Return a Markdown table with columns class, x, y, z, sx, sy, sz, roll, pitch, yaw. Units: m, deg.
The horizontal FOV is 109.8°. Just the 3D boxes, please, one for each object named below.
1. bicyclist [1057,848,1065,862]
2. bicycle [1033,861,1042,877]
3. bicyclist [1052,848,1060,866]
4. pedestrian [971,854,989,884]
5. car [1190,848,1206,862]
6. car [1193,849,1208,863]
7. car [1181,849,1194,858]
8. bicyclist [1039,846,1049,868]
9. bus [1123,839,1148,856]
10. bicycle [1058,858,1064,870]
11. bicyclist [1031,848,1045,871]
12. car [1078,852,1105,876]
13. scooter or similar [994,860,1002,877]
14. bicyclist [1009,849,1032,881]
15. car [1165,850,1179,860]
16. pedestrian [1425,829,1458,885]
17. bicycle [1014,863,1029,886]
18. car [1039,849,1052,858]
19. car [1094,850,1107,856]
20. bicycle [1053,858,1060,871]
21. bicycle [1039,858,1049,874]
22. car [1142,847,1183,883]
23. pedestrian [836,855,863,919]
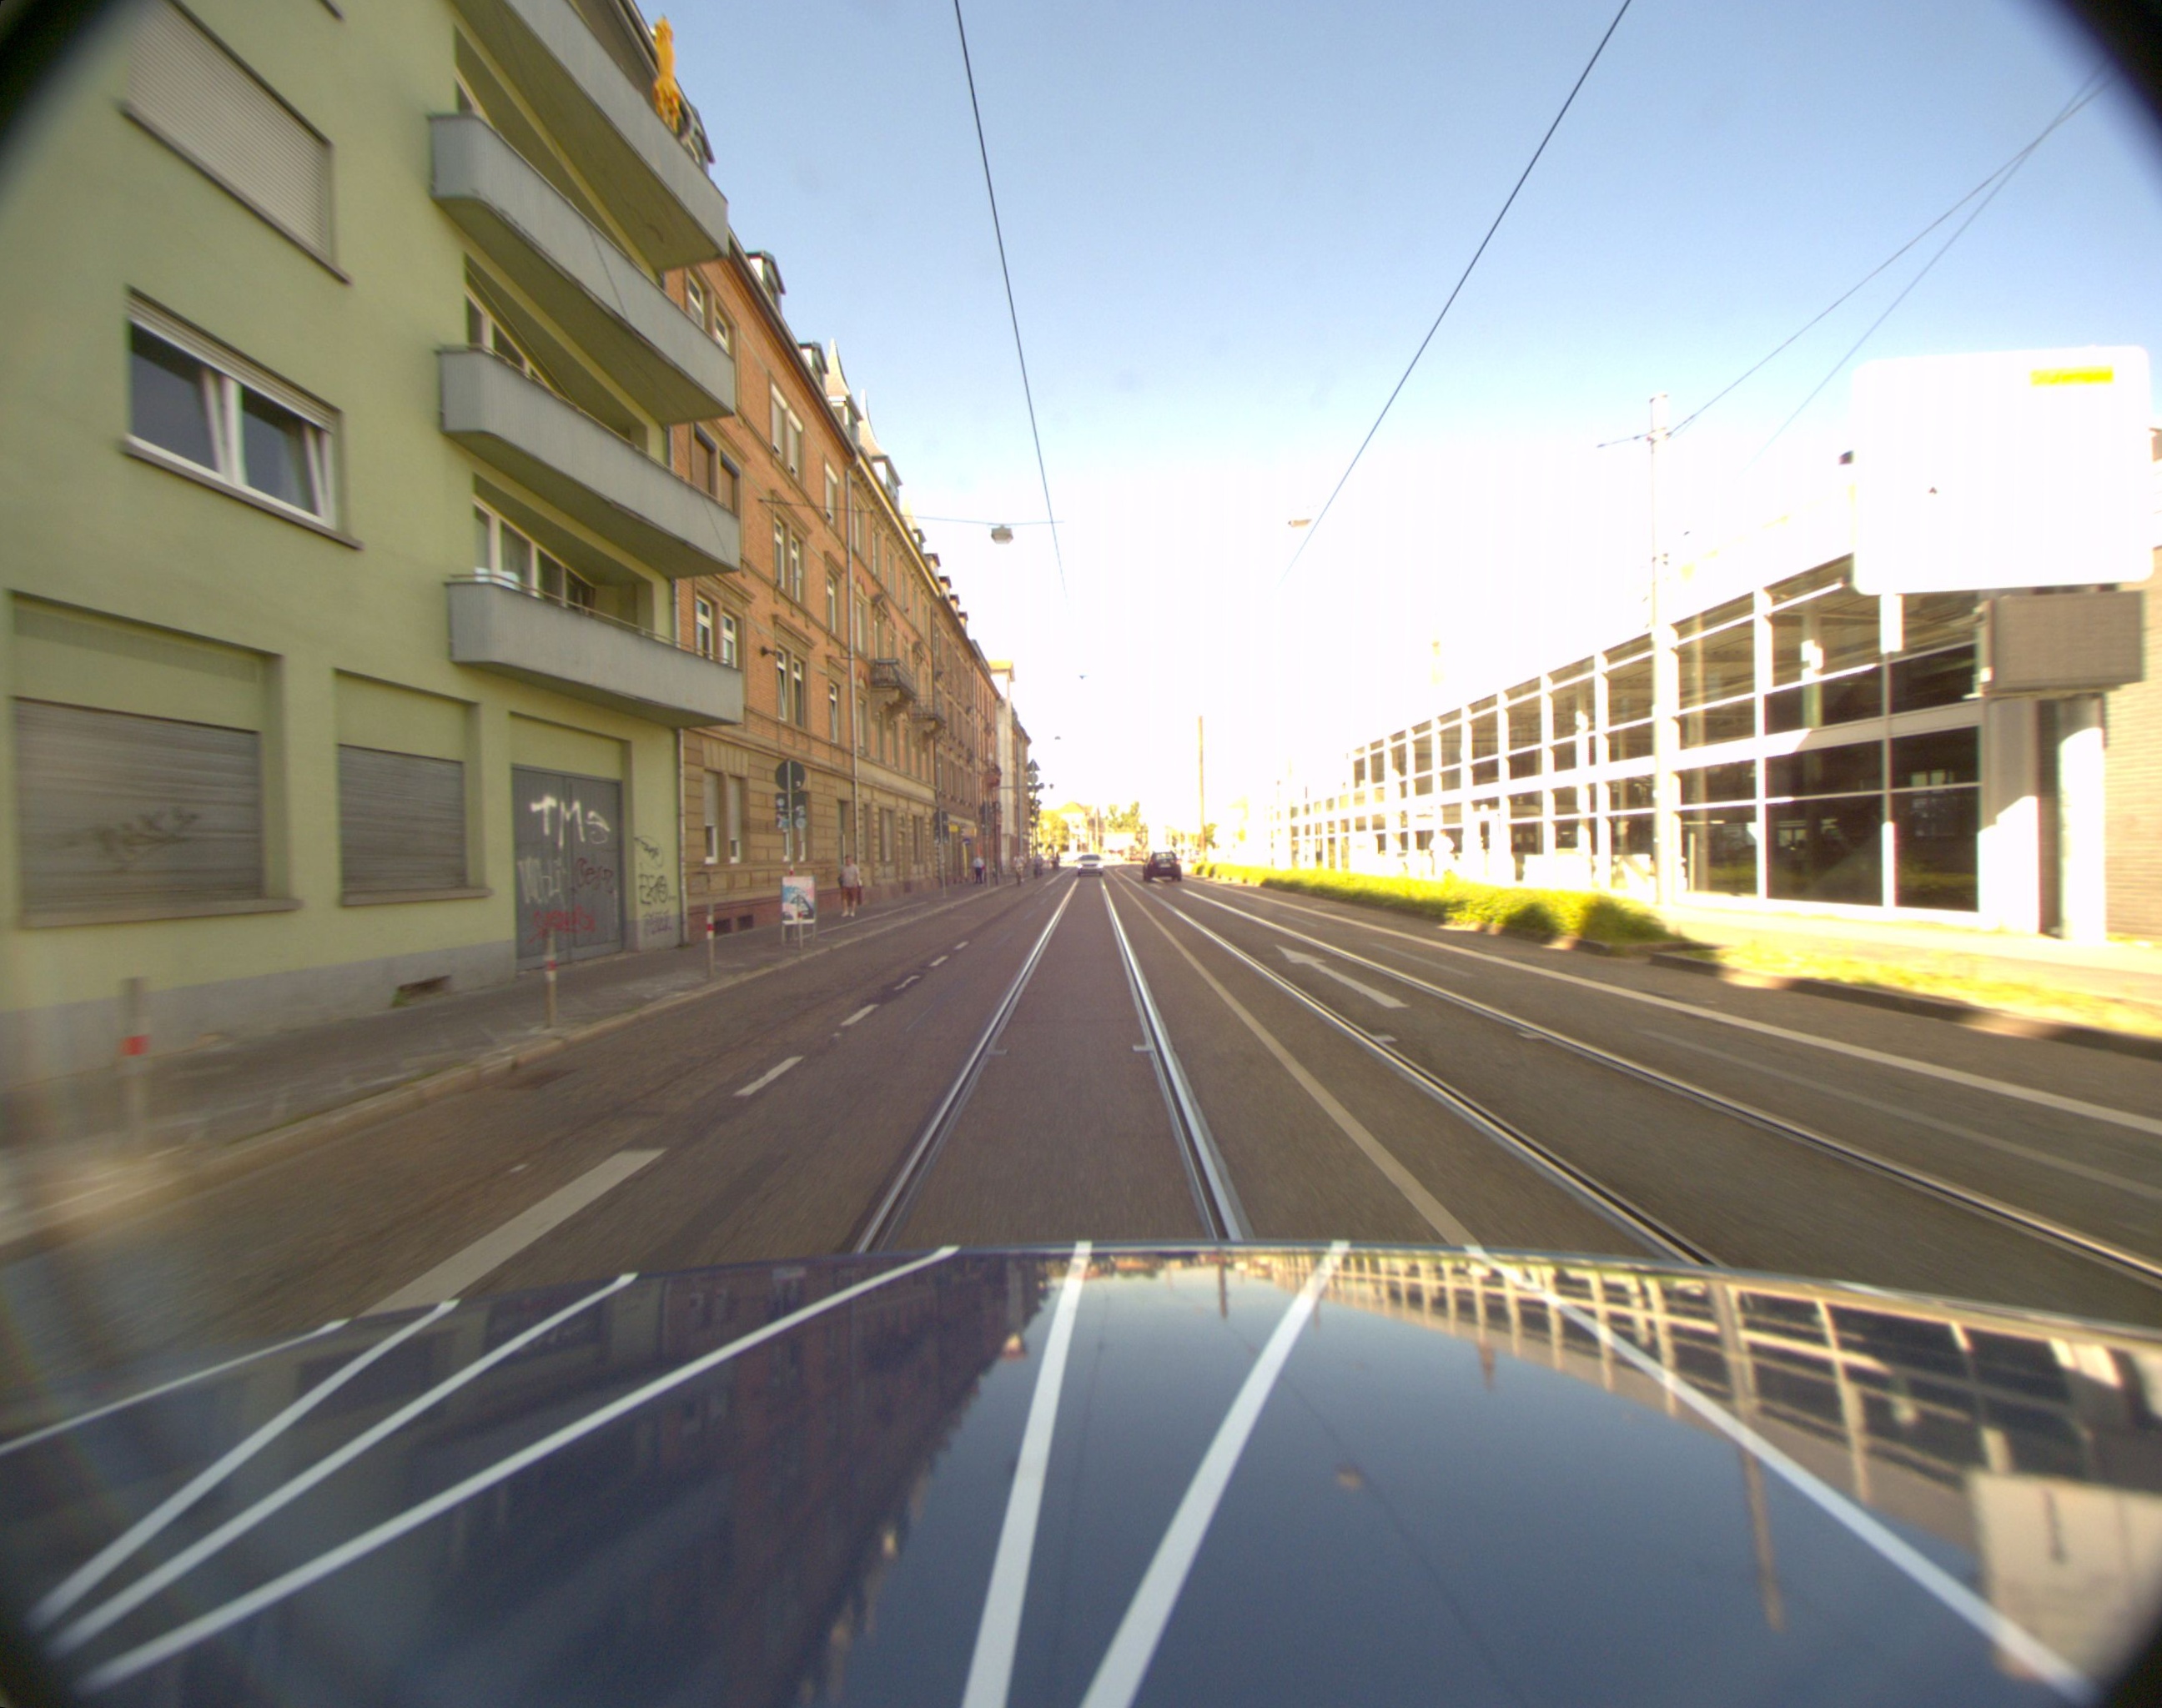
| class | x | y | z | sx | sy | sz | roll | pitch | yaw |
| --- | --- | --- | --- | --- | --- | --- | --- | --- | --- |
| bicyclist | -2.094 | 0.059 | 78.300 | 0.675 | 1.413 | 1.036 | -3 | 1 | 1 |
| bicycle | -3.006 | 1.063 | 53.015 | 0.387 | 1.062 | 1.934 | -2 | 0 | 3 |
| bicyclist | -2.289 | 0.284 | 69.799 | 0.551 | 1.604 | 0.953 | -3 | 1 | 1 |
| pedestrian | -5.519 | 0.791 | 41.400 | 0.800 | 1.596 | 0.652 | -2 | 1 | 3 |
| car | 16.955 | 0.066 | 110.302 | 1.807 | 1.922 | 4.165 | -1 | 1 | 3 |
| car | 16.274 | 0.269 | 103.323 | 1.803 | 1.709 | 4.418 | -1 | 1 | 7 |
| car | 18.088 | -0.035 | 129.192 | 1.653 | 1.470 | 3.971 | 0 | 1 | 2 |
| bicyclist | -2.836 | 0.202 | 57.703 | 0.625 | 1.604 | 0.980 | -3 | 1 | 0 |
| bus | 11.737 | -1.414 | 163.410 | 2.844 | 3.569 | 11.283 | -2 | 0 | 17 |
| bicycle | -2.041 | 1.011 | 78.146 | 0.533 | 1.152 | 1.865 | -2 | 0 | 0 |
| bicyclist | -2.997 | 0.388 | 53.118 | 0.784 | 1.584 | 0.886 | -2 | 1 | 3 |
| car | 0.810 | 0.681 | 55.592 | 1.868 | 1.635 | 4.397 | -2 | 0 | 2 |
| scooter or similar | -6.185 | 1.053 | 56.588 | 0.407 | 1.204 | 1.480 | 0 | 1 | 2 |
| bicyclist | -3.271 | 0.598 | 40.987 | 0.681 | 1.674 | 1.122 | -3 | 1 | 27 |
| car | 14.885 | 0.118 | 125.013 | 1.807 | 1.424 | 4.540 | -3 | 1 | 2 |
| pedestrian | 11.614 | 0.084 | 24.498 | 0.528 | 1.754 | 1.051 | -3 | 1 | 1 |
| bicycle | -3.205 | 1.082 | 41.052 | 0.533 | 1.111 | 1.933 | -3 | 1 | 1 |
| car | -10.925 | -0.193 | 234.618 | 2.246 | 2.665 | 5.296 | -4 | 1 | -23 |
| car | 4.988 | -0.221 | 196.009 | 1.915 | 1.449 | 4.592 | -2 | 1 | -19 |
| bicycle | -2.256 | 0.960 | 69.679 | 0.533 | 1.111 | 1.933 | -3 | 1 | 1 |
| bicycle | -2.774 | 0.922 | 57.577 | 0.533 | 1.111 | 1.933 | -1 | 1 | 2 |
| car | 4.306 | 0.555 | 40.642 | 1.763 | 1.687 | 4.143 | -3 | 1 | 2 |
| pedestrian | -6.269 | 0.890 | 20.588 | 0.554 | 1.691 | 0.474 | 0 | 1 | 1 |
